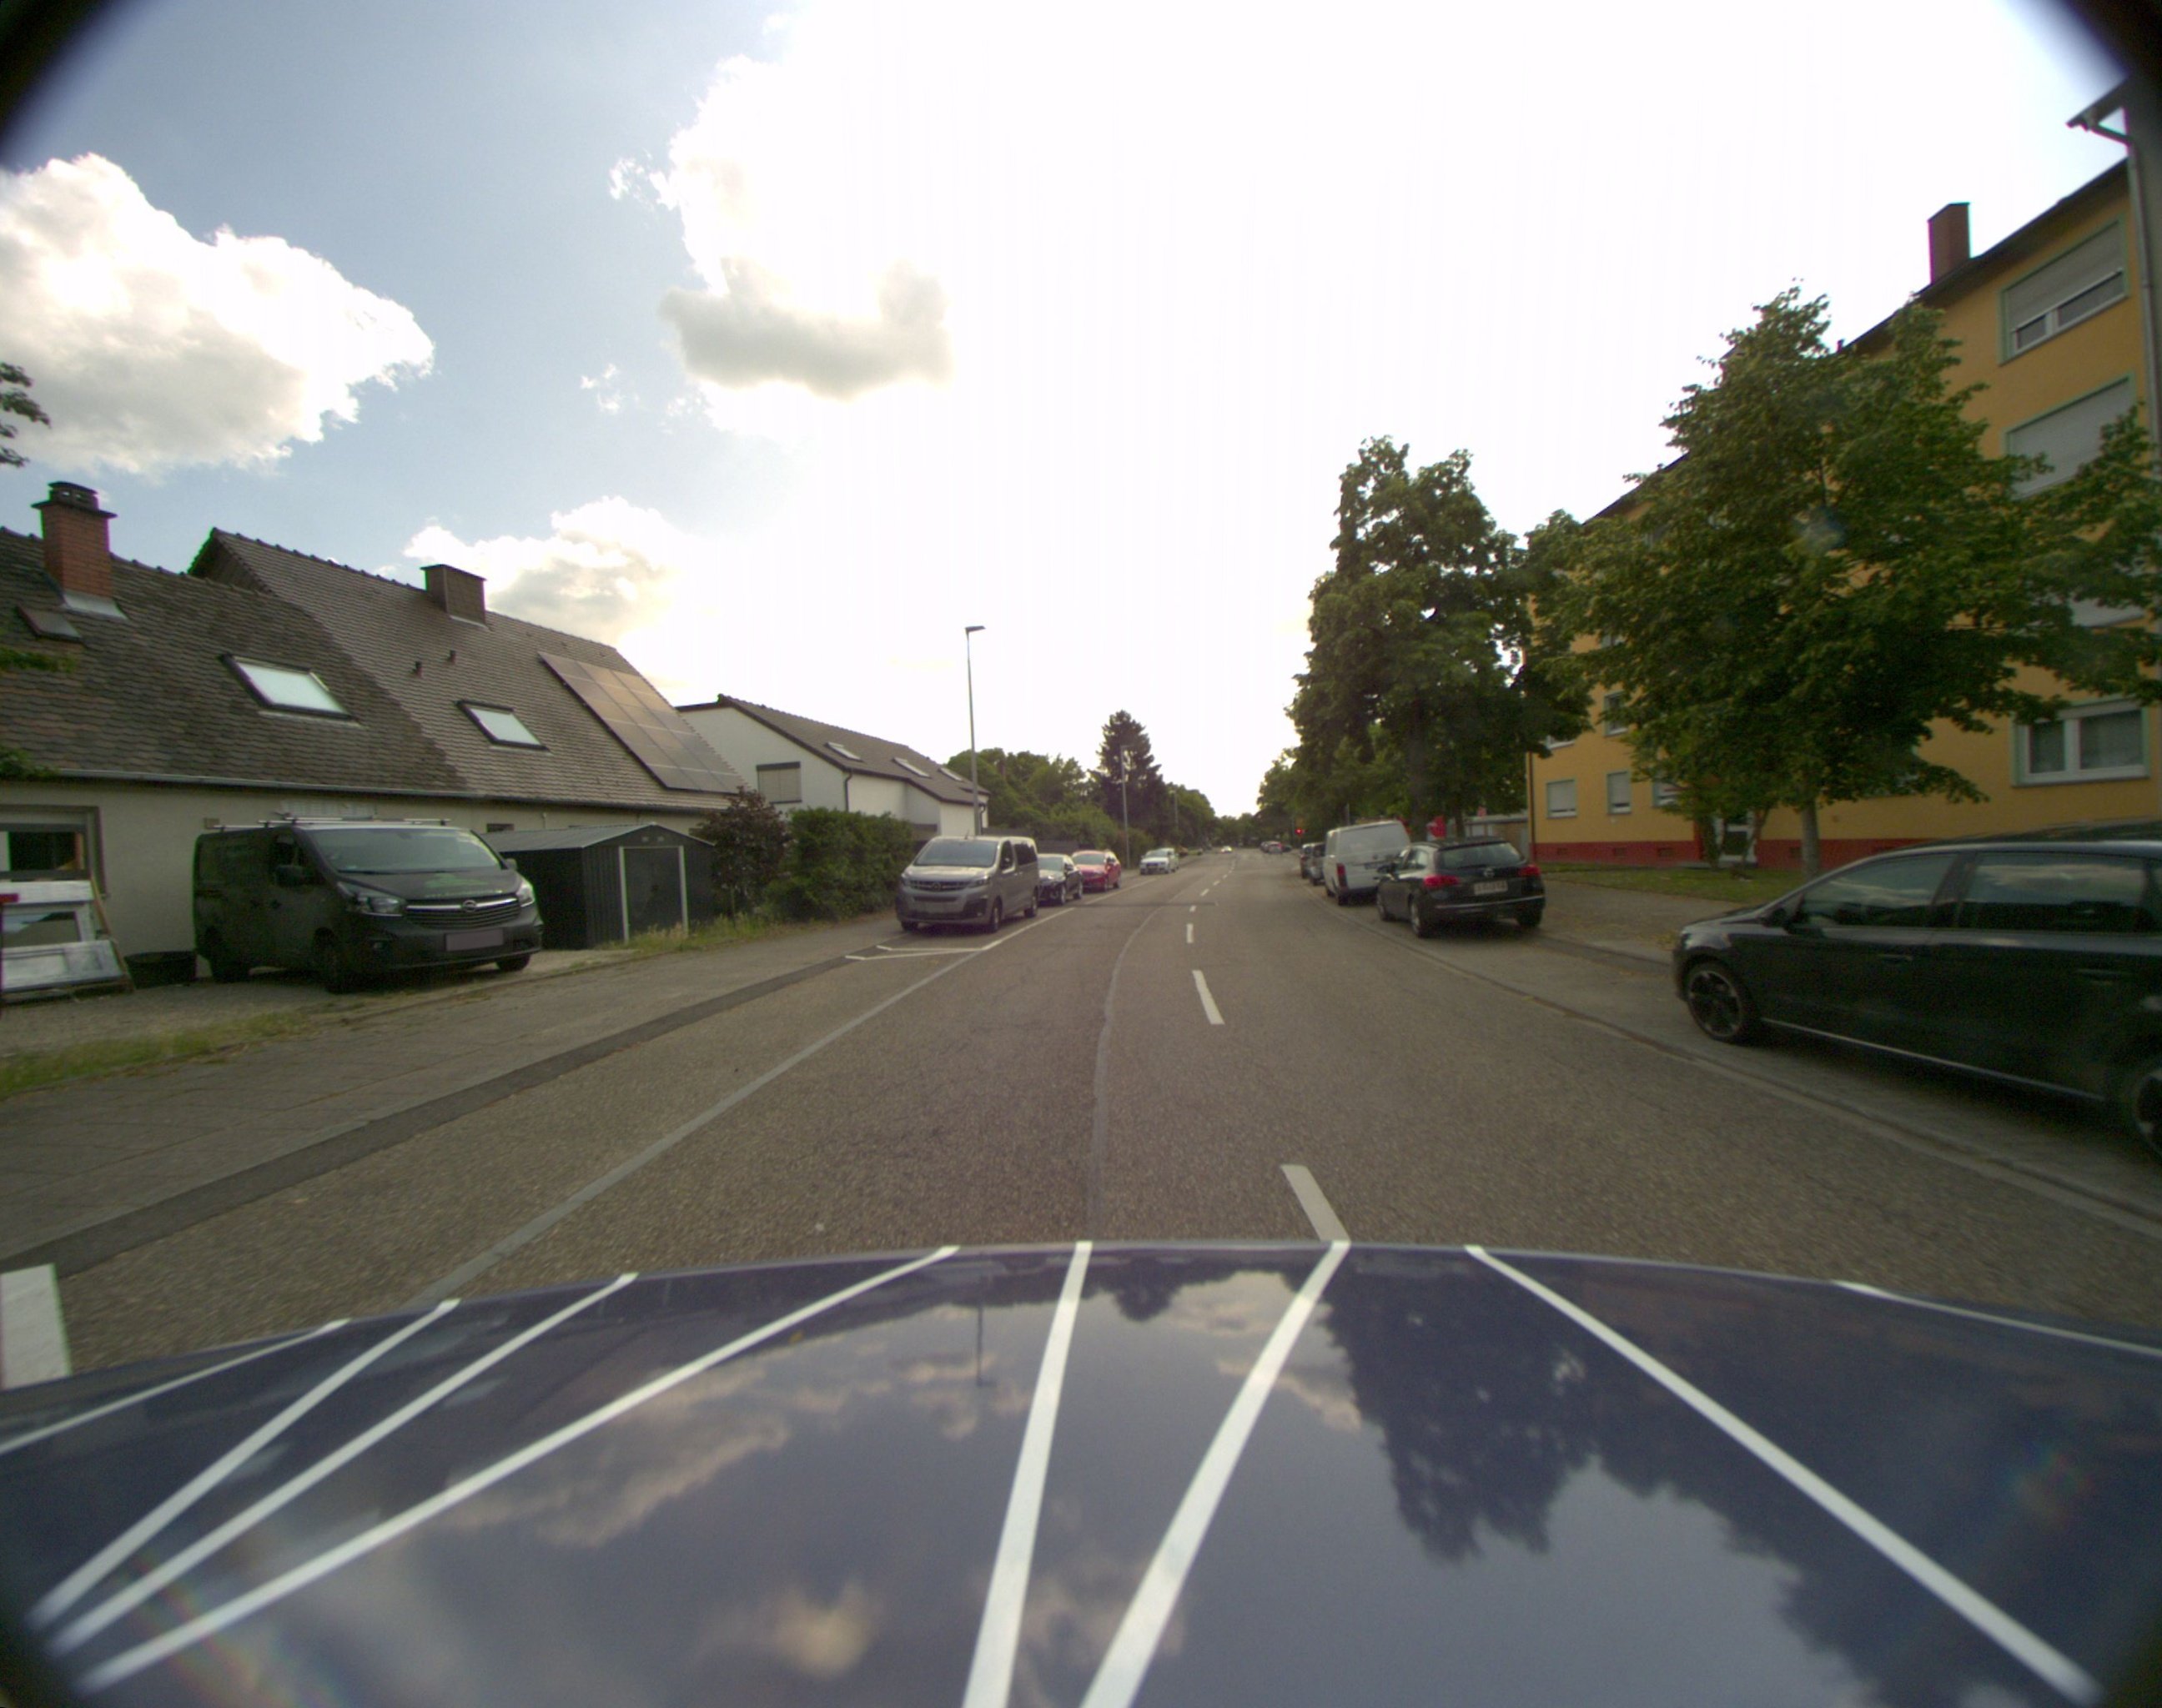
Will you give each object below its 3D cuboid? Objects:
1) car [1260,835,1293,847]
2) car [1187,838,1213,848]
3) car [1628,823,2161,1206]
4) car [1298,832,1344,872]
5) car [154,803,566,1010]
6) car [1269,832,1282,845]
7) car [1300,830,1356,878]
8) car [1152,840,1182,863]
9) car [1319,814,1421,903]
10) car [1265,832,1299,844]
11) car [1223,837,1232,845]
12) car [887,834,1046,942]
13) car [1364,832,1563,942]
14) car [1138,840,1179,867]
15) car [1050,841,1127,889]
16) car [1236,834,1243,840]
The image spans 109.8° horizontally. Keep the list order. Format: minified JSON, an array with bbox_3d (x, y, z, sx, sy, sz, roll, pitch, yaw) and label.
[{"bbox_3d":[30.201,-2.032,117.380,4.531,1.513,1.729,-3,1,2],"label":"car"},{"bbox_3d":[19.902,-1.793,126.845,3.997,1.421,1.730,-2,3,0],"label":"car"},{"bbox_3d":[5.306,0.633,4.132,1.764,1.480,4.033,-4,1,2],"label":"car"},{"bbox_3d":[10.734,-0.132,34.201,1.686,1.478,3.987,-5,1,16],"label":"car"},{"bbox_3d":[-9.166,0.596,9.568,5.345,2.045,2.003,-3,1,27],"label":"car"},{"bbox_3d":[24.481,-1.961,95.725,1.556,1.508,3.611,-3,1,13],"label":"car"},{"bbox_3d":[9.458,-0.020,29.365,1.520,1.540,3.758,-8,-1,12],"label":"car"},{"bbox_3d":[6.043,-0.210,53.255,1.584,1.511,3.758,-2,1,13],"label":"car"},{"bbox_3d":[7.480,0.065,20.153,1.882,1.998,5.327,-2,1,14],"label":"car"},{"bbox_3d":[30.091,-2.366,113.874,4.531,1.450,1.729,-3,1,2],"label":"car"},{"bbox_3d":[28.478,-2.538,147.972,1.728,1.421,4.001,-1,3,11],"label":"car"},{"bbox_3d":[-2.180,0.559,16.068,1.845,1.933,4.879,0,1,10],"label":"car"},{"bbox_3d":[6.228,0.432,12.981,1.763,1.480,4.507,-3,1,10],"label":"car"},{"bbox_3d":[4.700,-0.047,45.744,1.723,1.478,3.753,-2,1,16],"label":"car"},{"bbox_3d":[0.379,0.367,28.736,1.852,1.570,4.736,-3,1,13],"label":"car"},{"bbox_3d":[41.052,-4.512,197.373,1.728,1.421,4.001,-1,3,11],"label":"car"}]
